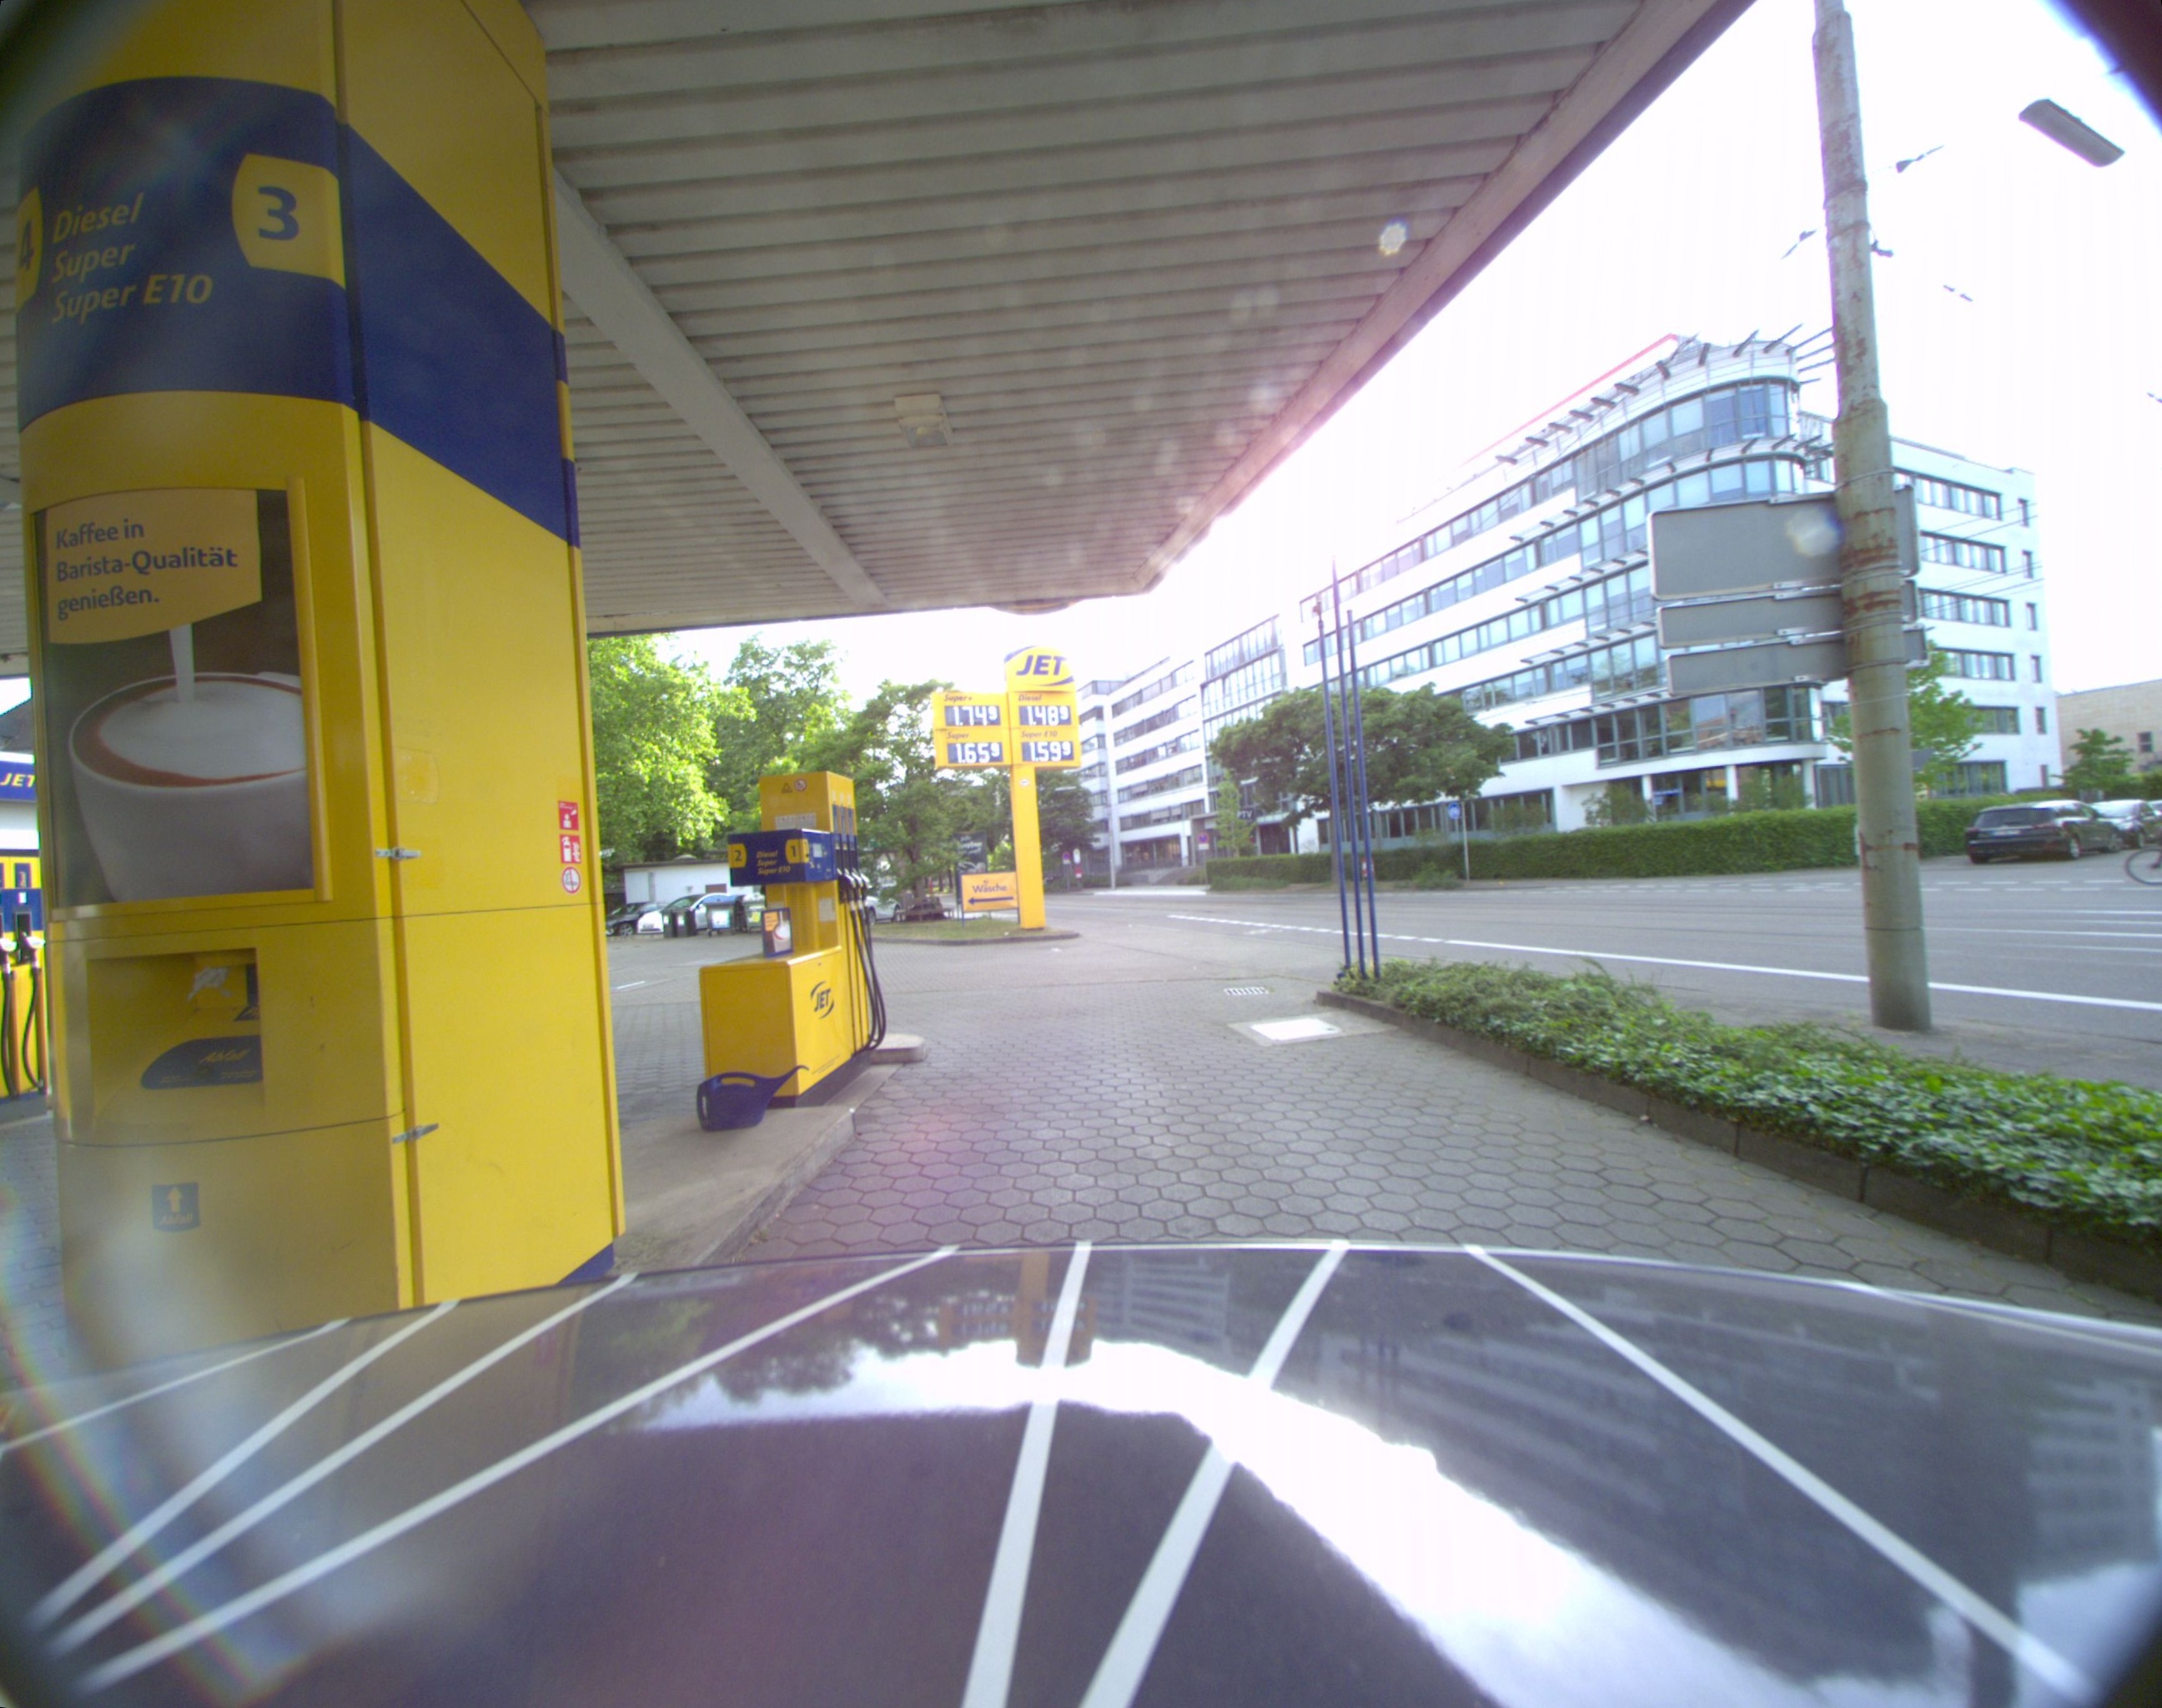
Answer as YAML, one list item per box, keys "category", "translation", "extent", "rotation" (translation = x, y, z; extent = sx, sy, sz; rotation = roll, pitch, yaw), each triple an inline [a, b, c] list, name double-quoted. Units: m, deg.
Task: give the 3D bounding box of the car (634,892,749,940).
- category: "car"
  translation: [-15.382, 2.405, 30.260]
  extent: [1.823, 1.575, 4.200]
  rotation: [-4, -2, 10]

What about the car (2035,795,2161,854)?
- category: "car"
  translation: [32.583, -0.957, 24.072]
  extent: [4.201, 1.568, 1.820]
  rotation: [-4, -1, -24]

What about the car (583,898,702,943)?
- category: "car"
  translation: [-17.527, 2.623, 30.615]
  extent: [1.823, 1.426, 4.200]
  rotation: [-4, -2, 10]

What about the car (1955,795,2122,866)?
- category: "car"
  translation: [27.425, -0.668, 21.762]
  extent: [4.397, 1.678, 1.820]
  rotation: [-4, -1, -24]

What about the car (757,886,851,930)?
- category: "car"
  translation: [-11.739, 2.258, 32.471]
  extent: [1.823, 1.575, 4.200]
  rotation: [-4, -2, 10]

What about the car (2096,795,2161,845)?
- category: "car"
  translation: [37.112, -1.251, 26.019]
  extent: [4.201, 1.568, 1.820]
  rotation: [-4, -1, -24]

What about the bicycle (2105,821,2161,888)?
- category: "bicycle"
  translation: [20.665, -0.004, 14.077]
  extent: [0.792, 1.232, 1.879]
  rotation: [-3, 1, -25]

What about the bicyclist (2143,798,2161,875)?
- category: "bicyclist"
  translation: [20.669, -0.344, 13.984]
  extent: [0.792, 1.443, 1.174]
  rotation: [-3, 1, -25]

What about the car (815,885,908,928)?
- category: "car"
  translation: [-8.649, 2.041, 30.384]
  extent: [1.823, 1.449, 4.200]
  rotation: [-4, -2, 10]
